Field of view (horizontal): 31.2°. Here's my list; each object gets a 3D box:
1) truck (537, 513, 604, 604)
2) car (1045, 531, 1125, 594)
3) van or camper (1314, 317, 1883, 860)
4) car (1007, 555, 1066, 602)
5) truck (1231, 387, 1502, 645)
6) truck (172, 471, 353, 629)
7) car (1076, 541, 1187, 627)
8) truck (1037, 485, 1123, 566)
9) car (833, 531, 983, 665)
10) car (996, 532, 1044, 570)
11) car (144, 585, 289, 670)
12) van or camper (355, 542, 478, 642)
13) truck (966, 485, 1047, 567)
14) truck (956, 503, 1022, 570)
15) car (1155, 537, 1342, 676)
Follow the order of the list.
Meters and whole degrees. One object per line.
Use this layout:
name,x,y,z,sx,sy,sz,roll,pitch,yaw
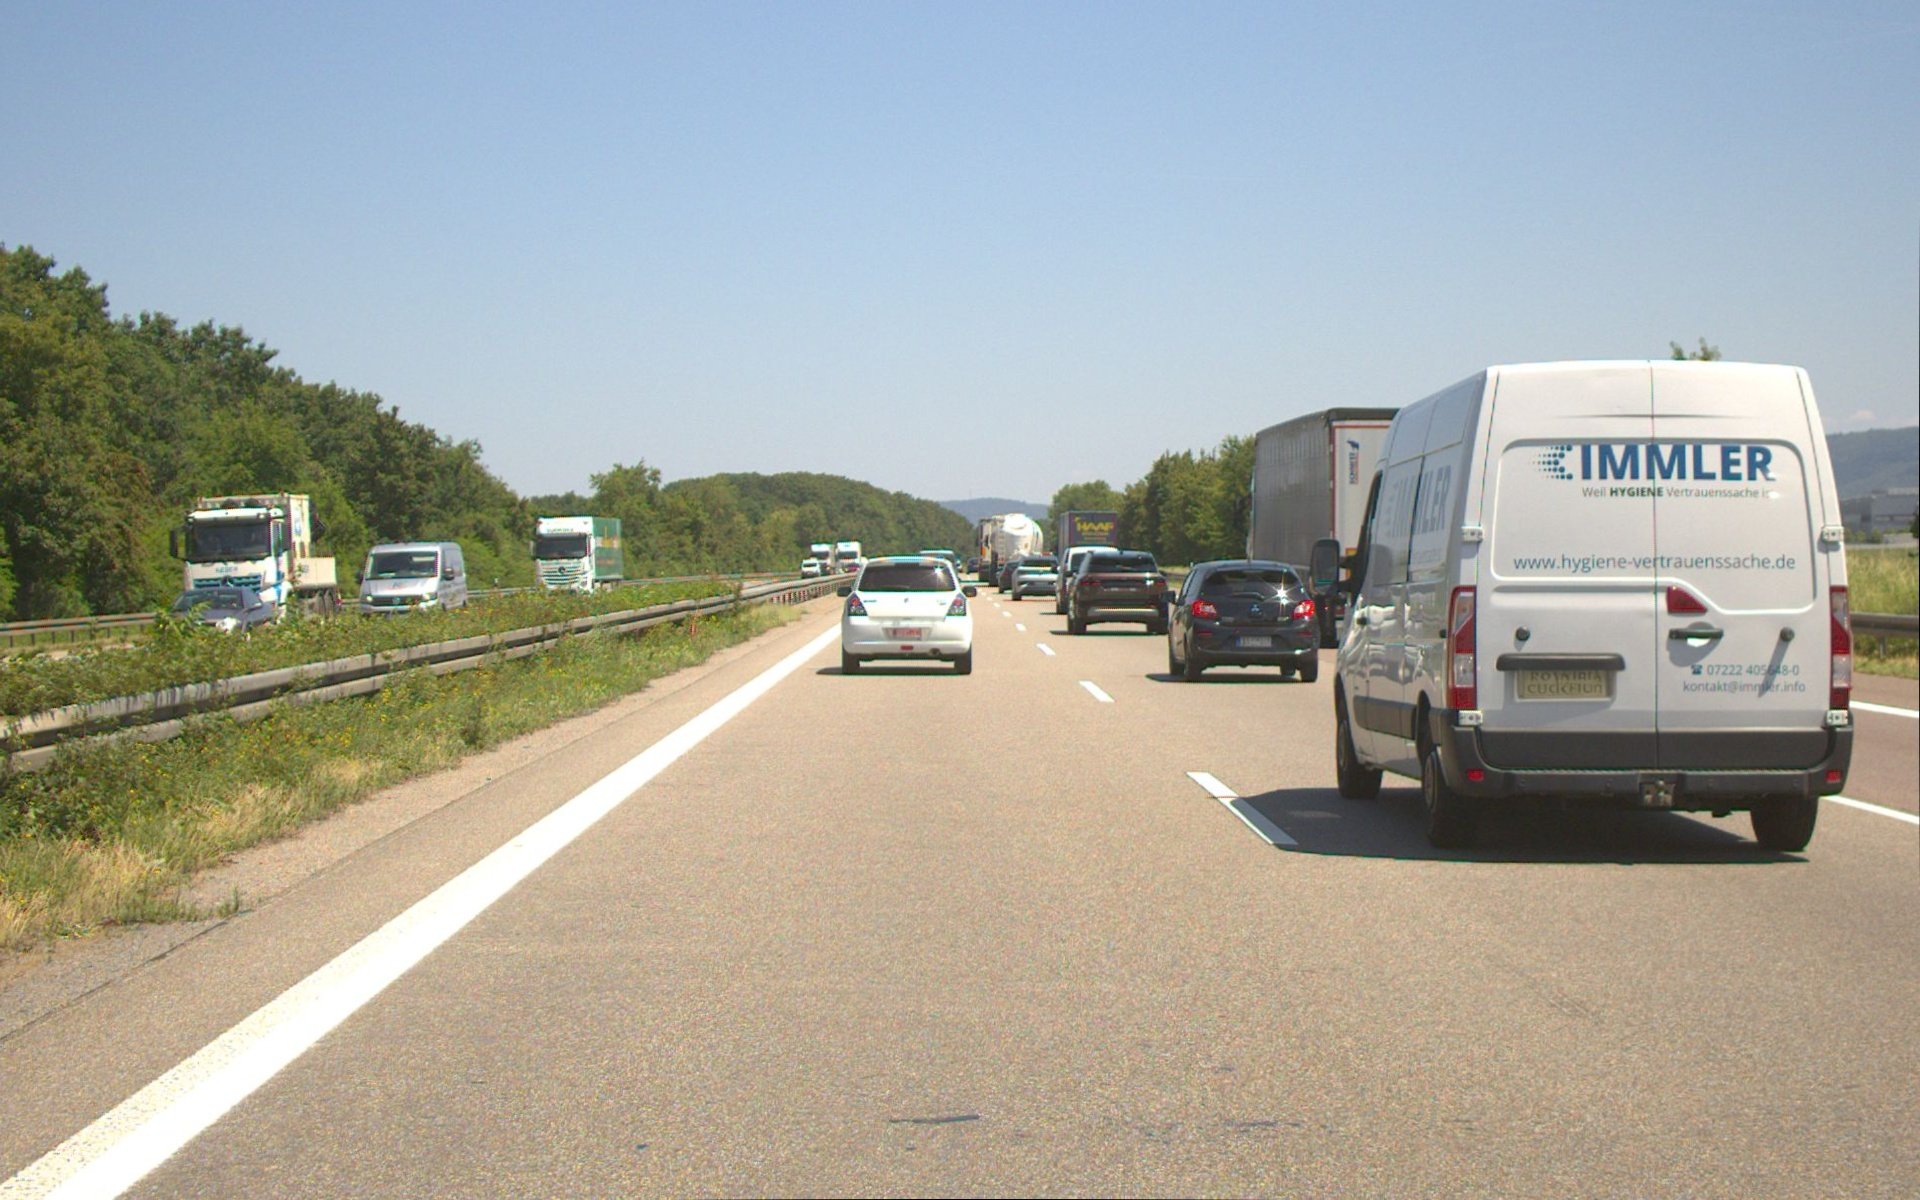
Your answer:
truck,-17.866,-1.932,157.873,2.417,4.079,5.881,0,1,-1
car,3.348,-1.022,92.881,1.857,1.646,4.000,0,1,-2
van or camper,3.388,-0.098,19.571,2.058,2.613,5.985,0,1,-1
car,2.718,-0.787,122.989,1.857,1.646,4.000,0,1,-2
truck,7.398,-1.514,65.382,3.079,4.194,16.844,1,1,0
truck,-17.860,-1.304,88.664,2.605,3.748,9.866,-2,1,0
car,3.381,-0.331,68.397,1.857,1.646,4.000,0,1,-2
truck,6.512,-4.071,189.582,3.257,4.194,16.845,1,1,-3
car,-0.729,-0.058,45.395,1.857,1.646,4.000,1,1,-2
car,2.575,-2.128,148.970,1.857,1.646,4.000,0,1,-2
car,-14.165,0.495,65.727,1.857,1.434,4.599,-2,1,-2
van or camper,-13.465,-0.244,85.496,2.058,2.345,6.076,-2,1,0
truck,2.427,-3.997,187.334,3.257,4.194,16.845,1,1,-3
truck,1.824,-4.137,224.952,3.257,4.194,16.845,1,1,-3
car,3.551,0.046,42.975,1.857,1.646,4.000,0,1,-2
